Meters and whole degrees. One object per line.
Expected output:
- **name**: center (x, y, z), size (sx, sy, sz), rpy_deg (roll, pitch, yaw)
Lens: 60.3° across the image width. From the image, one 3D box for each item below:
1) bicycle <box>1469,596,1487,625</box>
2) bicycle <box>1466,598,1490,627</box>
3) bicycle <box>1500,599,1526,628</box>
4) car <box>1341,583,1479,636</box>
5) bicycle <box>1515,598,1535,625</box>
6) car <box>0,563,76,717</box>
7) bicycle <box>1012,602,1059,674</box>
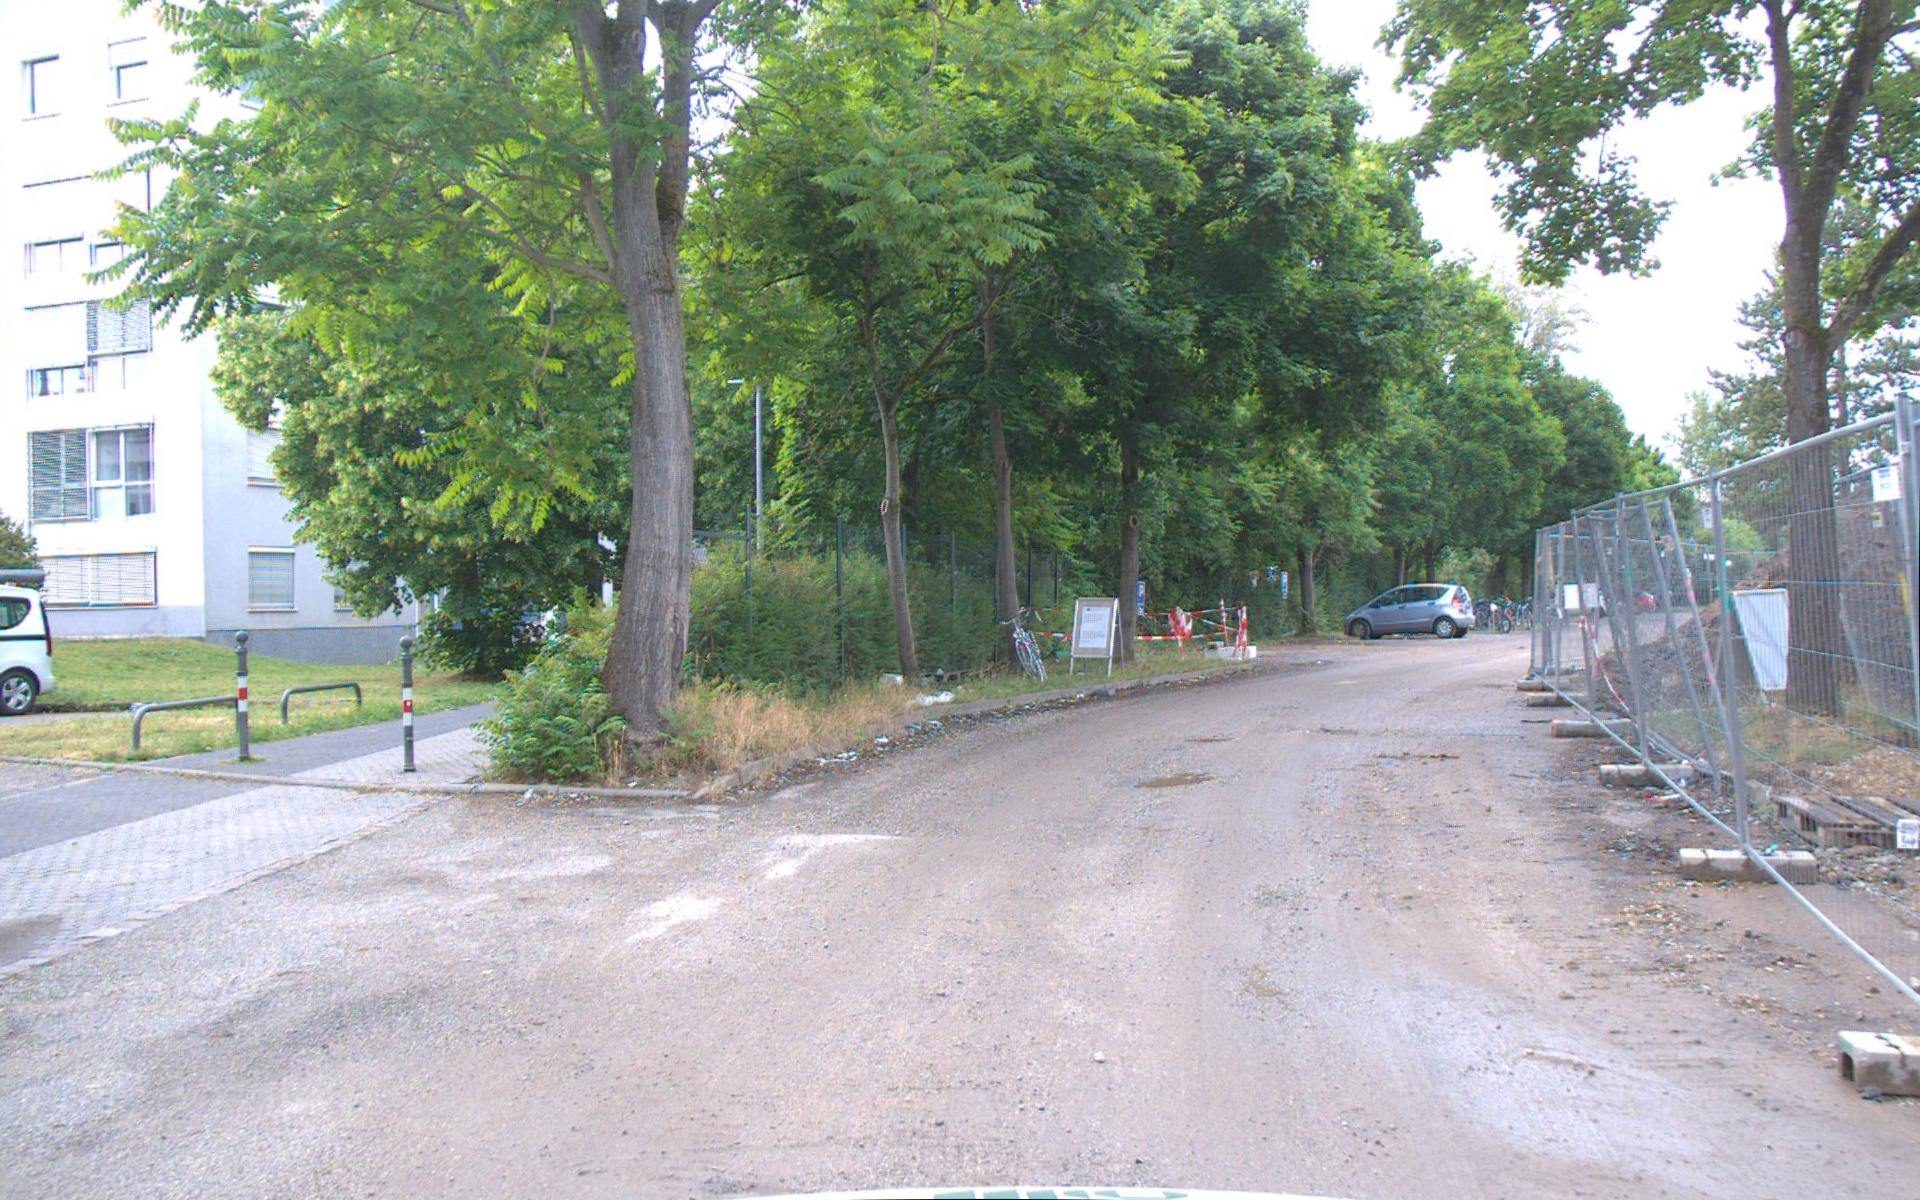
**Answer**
- **bicycle**: center (18.974, 0.379, 60.629), size (0.576, 0.995, 2.033), rpy_deg (-1, 0, 16)
- **bicycle**: center (18.236, 0.434, 58.273), size (0.754, 0.995, 2.033), rpy_deg (-1, 0, 16)
- **bicycle**: center (19.396, 0.460, 58.065), size (0.754, 0.995, 2.033), rpy_deg (-1, 0, 16)
- **car**: center (13.478, 0.278, 49.557), size (3.630, 1.527, 1.864), rpy_deg (-1, 0, 31)
- **bicycle**: center (21.600, 0.430, 63.250), size (0.576, 0.995, 2.033), rpy_deg (-1, 0, 16)
- **car**: center (-14.051, 0.567, 21.484), size (1.811, 2.049, 4.350), rpy_deg (-2, -1, 23)
- **bicycle**: center (1.056, 0.515, 22.863), size (0.410, 0.921, 1.155), rpy_deg (5, 1, 11)
